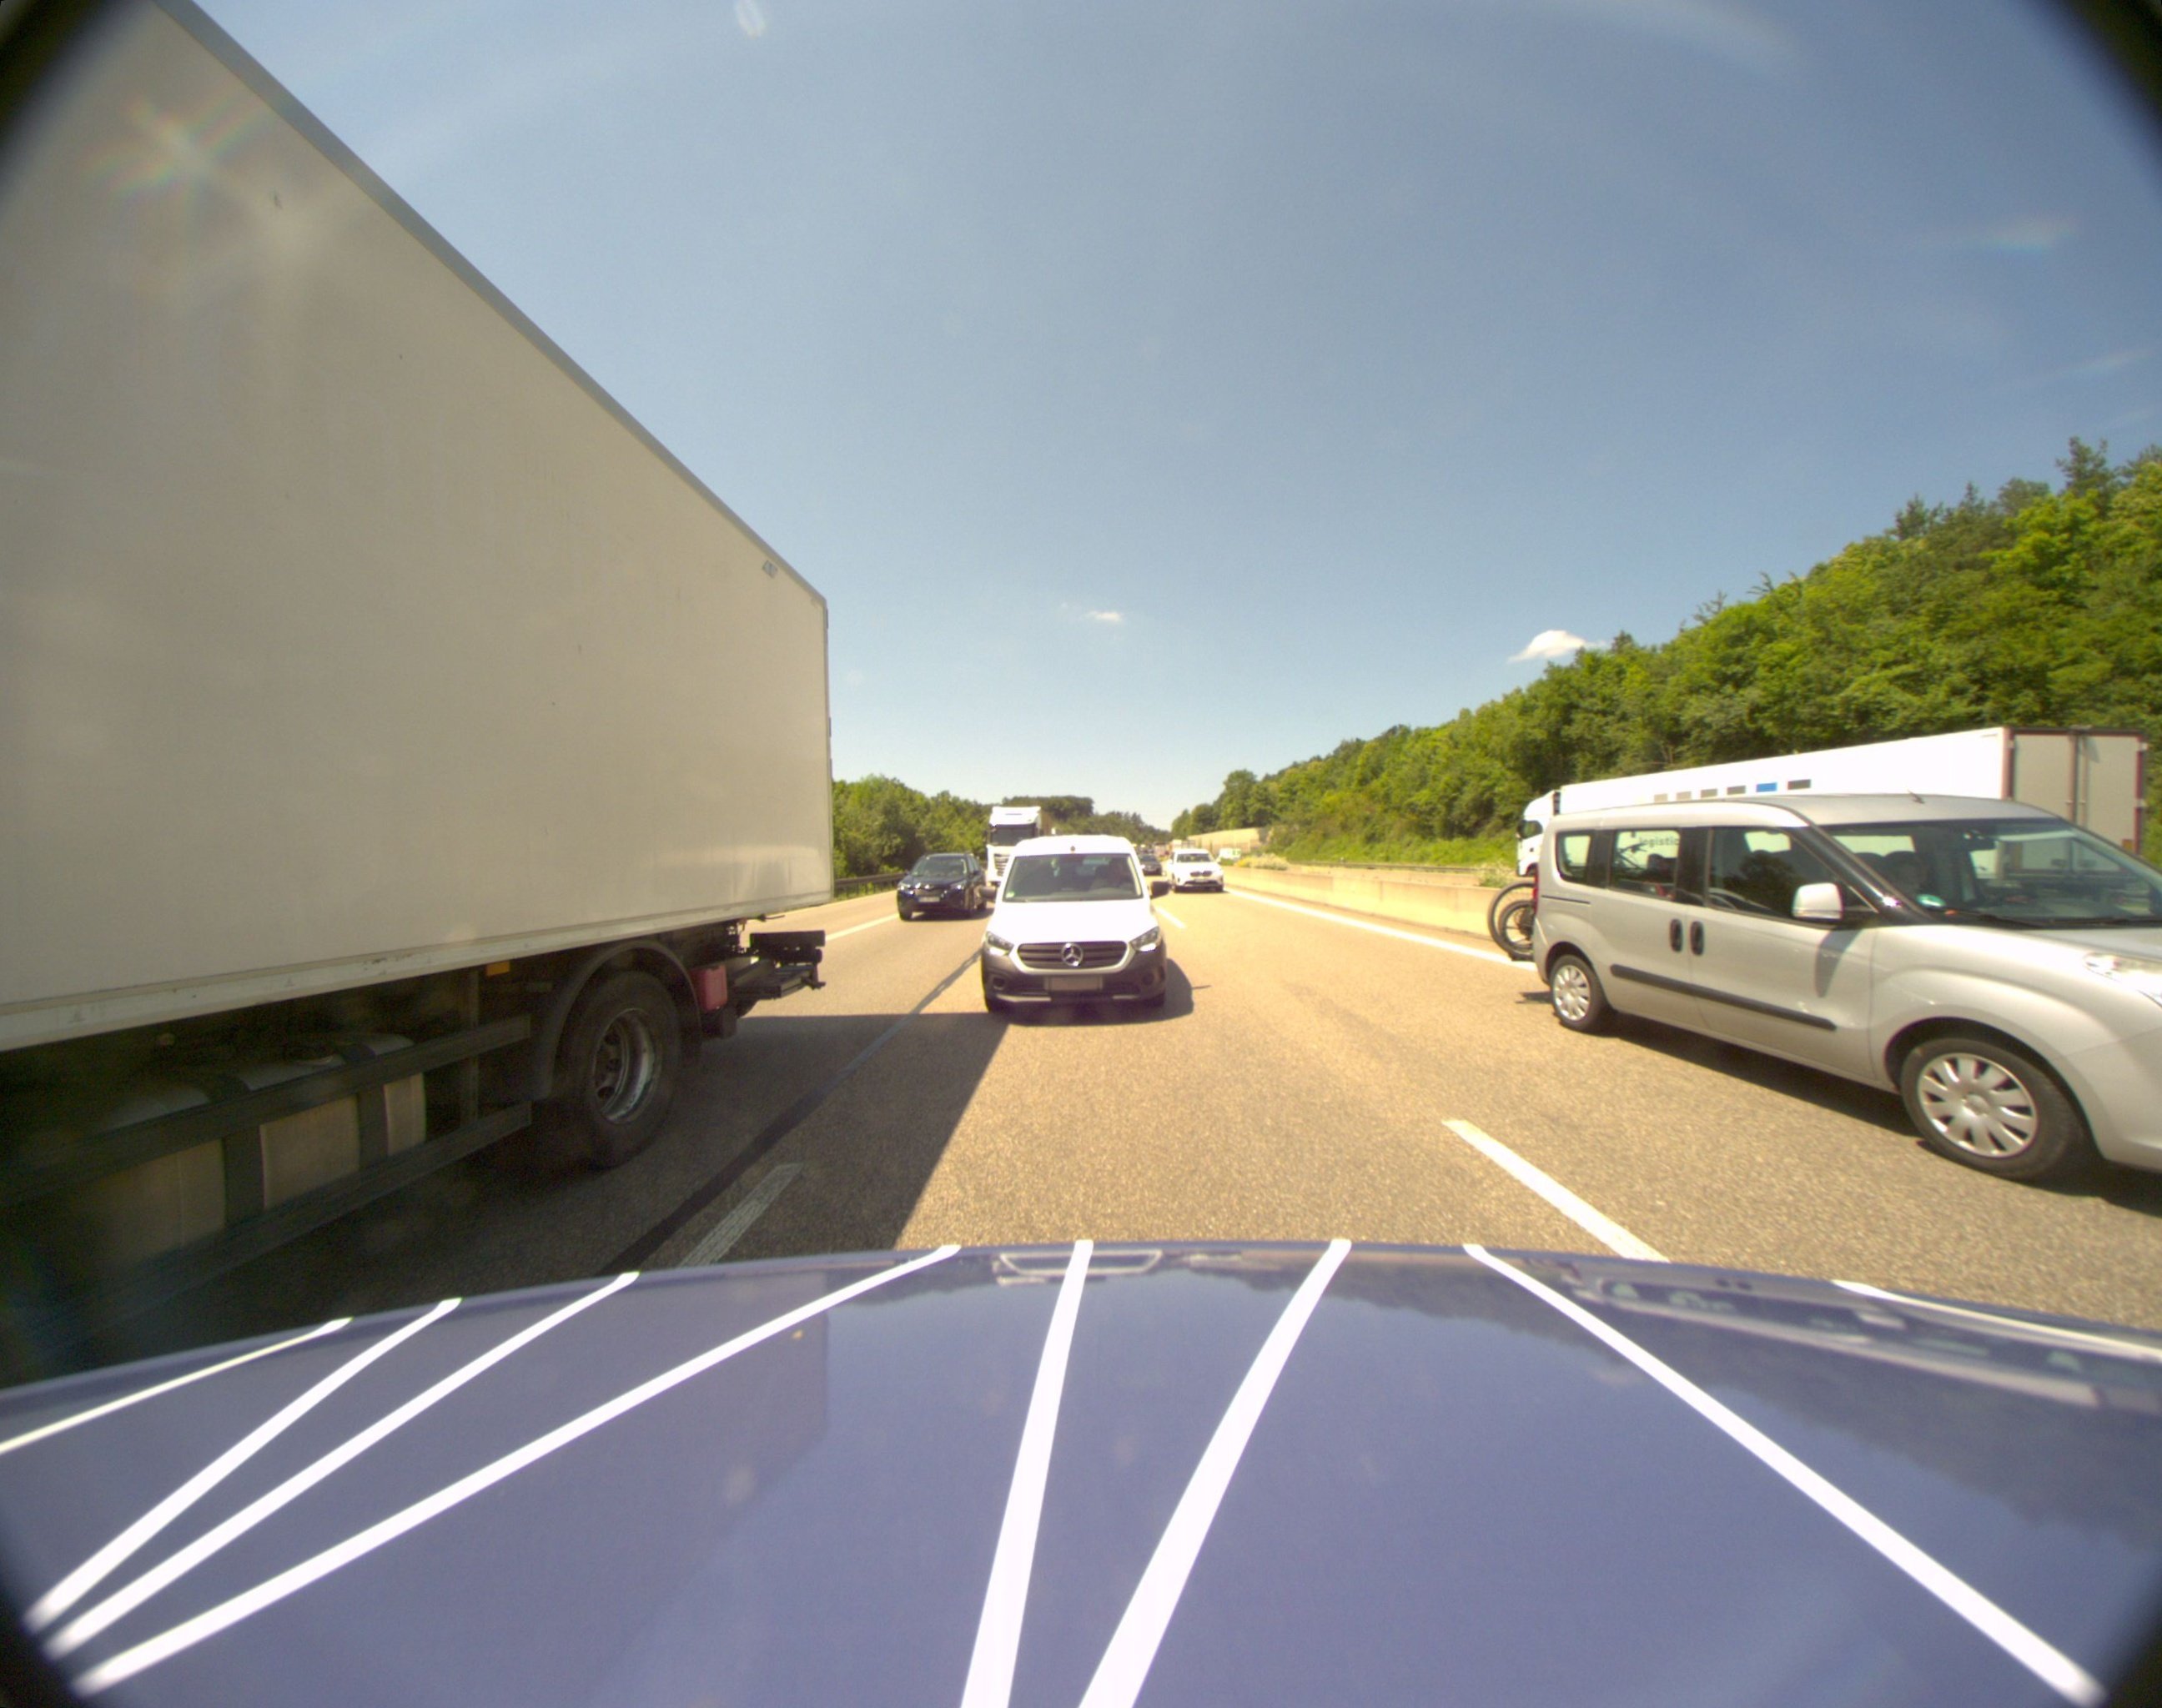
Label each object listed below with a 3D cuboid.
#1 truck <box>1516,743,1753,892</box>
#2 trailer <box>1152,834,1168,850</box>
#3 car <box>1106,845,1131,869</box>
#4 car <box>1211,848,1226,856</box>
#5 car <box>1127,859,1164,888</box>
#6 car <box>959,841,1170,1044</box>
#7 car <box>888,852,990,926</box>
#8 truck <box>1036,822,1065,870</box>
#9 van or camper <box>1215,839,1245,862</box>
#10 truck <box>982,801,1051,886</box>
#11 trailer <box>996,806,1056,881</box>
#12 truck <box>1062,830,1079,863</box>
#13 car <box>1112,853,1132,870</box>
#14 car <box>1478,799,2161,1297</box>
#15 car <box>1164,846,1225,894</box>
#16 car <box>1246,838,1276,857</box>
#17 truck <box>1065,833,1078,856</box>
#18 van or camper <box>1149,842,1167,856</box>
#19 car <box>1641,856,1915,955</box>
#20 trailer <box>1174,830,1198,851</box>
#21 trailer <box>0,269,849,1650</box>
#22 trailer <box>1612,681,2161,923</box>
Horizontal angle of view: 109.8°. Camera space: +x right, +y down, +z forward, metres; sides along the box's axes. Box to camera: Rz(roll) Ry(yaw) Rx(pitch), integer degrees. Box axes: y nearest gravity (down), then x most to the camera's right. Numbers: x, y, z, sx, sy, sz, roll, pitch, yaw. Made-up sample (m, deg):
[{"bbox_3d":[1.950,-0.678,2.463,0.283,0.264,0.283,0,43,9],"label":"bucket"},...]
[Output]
[{"bbox_3d":[19.095,-1.186,27.005,2.956,4.456,7.516,-2,1,0],"label":"truck"},{"bbox_3d":[22.188,-3.332,213.528,3.443,4.171,7.895,-2,1,0],"label":"trailer"},{"bbox_3d":[3.158,0.238,65.174,1.998,2.002,4.000,-1,0,1],"label":"car"},{"bbox_3d":[23.343,-0.350,129.344,1.998,1.326,4.000,-1,0,3],"label":"car"},{"bbox_3d":[4.339,1.308,51.662,1.999,1.747,3.998,-2,1,-3],"label":"car"},{"bbox_3d":[-0.116,0.724,8.690,1.756,1.681,4.363,-2,1,1],"label":"car"},{"bbox_3d":[-3.671,0.833,20.511,1.999,1.682,4.609,0,1,-2],"label":"car"},{"bbox_3d":[-2.962,-0.726,76.077,2.394,4.437,10.868,-2,0,0],"label":"truck"},{"bbox_3d":[16.033,-0.356,82.135,1.999,2.371,4.806,-1,0,-3],"label":"van or camper"},{"bbox_3d":[-3.266,-0.579,40.515,2.766,4.061,7.333,-2,1,1],"label":"truck"},{"bbox_3d":[-3.186,-0.689,47.116,2.766,4.061,11.615,0,1,1],"label":"trailer"},{"bbox_3d":[-1.444,-0.991,109.680,2.187,4.437,10.868,-2,0,0],"label":"truck"},{"bbox_3d":[4.974,0.883,91.924,1.999,2.002,3.998,-2,1,-2],"label":"car"},{"bbox_3d":[4.736,0.616,4.823,1.857,1.762,4.917,-2,1,0],"label":"car"},{"bbox_3d":[4.429,0.574,30.207,1.824,1.696,3.999,-2,1,1],"label":"car"},{"bbox_3d":[20.083,-0.731,85.016,2.119,2.002,4.476,-2,1,-2],"label":"car"},{"bbox_3d":[-1.710,-1.628,138.383,2.187,4.073,10.868,-2,0,0],"label":"truck"},{"bbox_3d":[16.105,-1.021,159.858,2.401,2.860,6.707,-2,1,-6],"label":"van or camper"},{"bbox_3d":[15.119,0.999,16.904,1.999,1.753,4.450,-2,1,0],"label":"car"},{"bbox_3d":[20.143,-2.608,146.950,3.004,3.850,11.398,-2,1,0],"label":"trailer"},{"bbox_3d":[-3.537,0.225,3.233,2.562,2.882,7.881,-2,0,0],"label":"trailer"},{"bbox_3d":[19.036,-1.078,19.752,2.956,4.456,10.814,-2,1,0],"label":"trailer"}]
